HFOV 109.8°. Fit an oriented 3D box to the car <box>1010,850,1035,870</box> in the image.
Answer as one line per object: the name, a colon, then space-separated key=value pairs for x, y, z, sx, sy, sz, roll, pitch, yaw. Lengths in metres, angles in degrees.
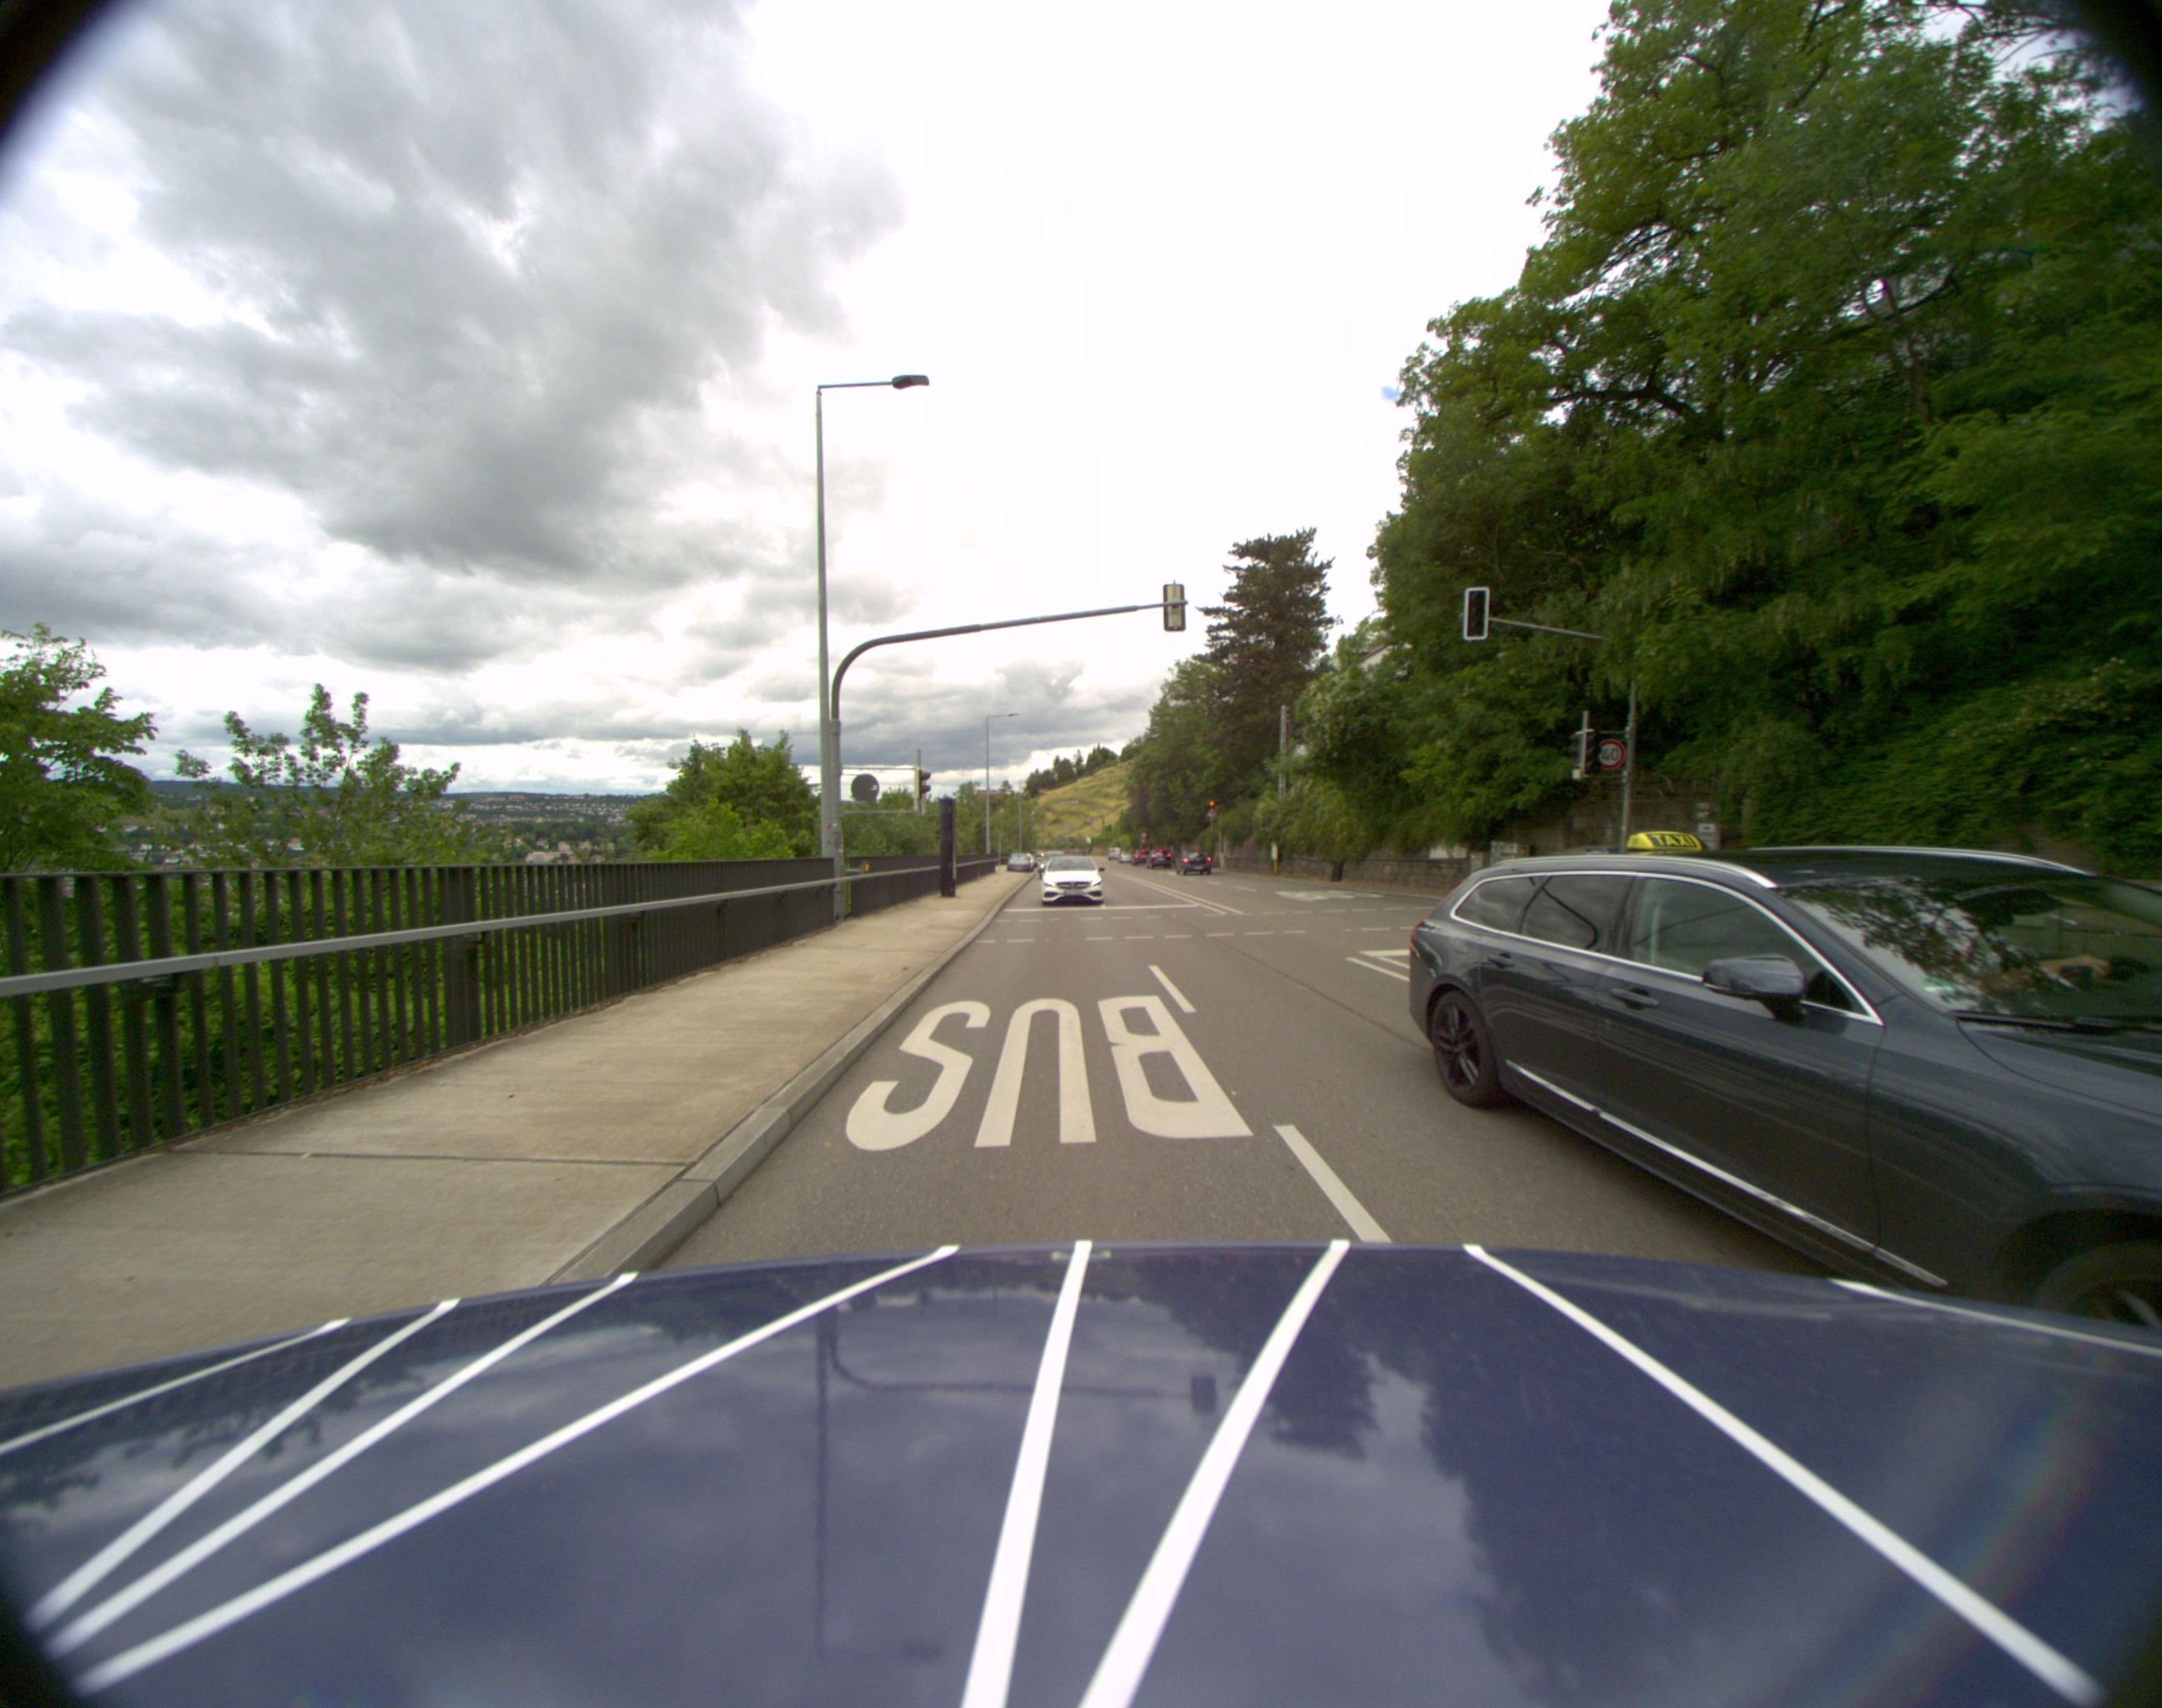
car: x=-4.623 y=0.438 z=60.684 sx=1.761 sy=1.535 sz=4.426 roll=2 pitch=0 yaw=-2

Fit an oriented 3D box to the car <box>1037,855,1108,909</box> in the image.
car: x=-0.176 y=0.800 z=23.335 sx=1.903 sy=1.418 sz=4.266 roll=-2 pitch=-1 yaw=2

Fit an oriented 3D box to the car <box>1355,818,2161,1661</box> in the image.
car: x=2.969 y=0.700 z=2.841 sx=1.940 sy=1.567 sz=5.026 roll=-3 pitch=1 yaw=-1

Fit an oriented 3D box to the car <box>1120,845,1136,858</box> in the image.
car: x=5.788 y=-0.309 z=93.869 sx=1.680 sy=1.433 sz=4.233 roll=-3 pitch=0 yaw=1

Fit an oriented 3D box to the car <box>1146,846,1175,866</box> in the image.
car: x=6.594 y=0.167 z=63.261 sx=1.786 sy=1.473 sz=4.210 roll=-3 pitch=0 yaw=-2

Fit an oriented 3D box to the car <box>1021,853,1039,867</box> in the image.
car: x=-5.460 y=0.661 z=81.485 sx=1.828 sy=1.393 sz=4.318 roll=1 pitch=0 yaw=-3

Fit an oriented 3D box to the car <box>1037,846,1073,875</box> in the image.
car: x=-1.534 y=0.376 z=46.412 sx=1.999 sy=1.580 sz=3.999 roll=-3 pitch=1 yaw=-1

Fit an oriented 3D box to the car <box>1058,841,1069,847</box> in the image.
car: x=-4.664 y=-2.732 z=202.190 sx=1.591 sy=1.453 sz=3.515 roll=-4 pitch=1 yaw=-28

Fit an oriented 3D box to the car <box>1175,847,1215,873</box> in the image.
car: x=7.026 y=0.339 z=47.312 sx=1.817 sy=1.425 sz=4.248 roll=-3 pitch=1 yaw=0

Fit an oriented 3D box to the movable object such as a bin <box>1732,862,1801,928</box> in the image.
movable object such as a bin: x=11.680 y=0.688 z=12.956 sx=0.643 sy=1.061 sz=0.556 roll=-3 pitch=1 yaw=-3

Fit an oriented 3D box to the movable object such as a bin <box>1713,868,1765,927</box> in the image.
movable object such as a bin: x=11.100 y=0.722 z=12.826 sx=0.428 sy=0.944 sz=0.479 roll=-3 pitch=1 yaw=-3

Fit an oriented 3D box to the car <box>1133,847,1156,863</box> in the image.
car: x=6.547 y=0.057 z=78.862 sx=1.947 sy=1.540 sz=4.247 roll=-1 pitch=1 yaw=-1

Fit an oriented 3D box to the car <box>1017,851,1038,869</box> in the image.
car: x=-4.719 y=0.516 z=67.529 sx=1.731 sy=1.559 sz=4.623 roll=0 pitch=1 yaw=-2

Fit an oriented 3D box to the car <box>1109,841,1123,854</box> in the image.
car: x=5.679 y=-1.098 z=123.681 sx=1.926 sy=1.993 sz=5.354 roll=-1 pitch=0 yaw=-1
